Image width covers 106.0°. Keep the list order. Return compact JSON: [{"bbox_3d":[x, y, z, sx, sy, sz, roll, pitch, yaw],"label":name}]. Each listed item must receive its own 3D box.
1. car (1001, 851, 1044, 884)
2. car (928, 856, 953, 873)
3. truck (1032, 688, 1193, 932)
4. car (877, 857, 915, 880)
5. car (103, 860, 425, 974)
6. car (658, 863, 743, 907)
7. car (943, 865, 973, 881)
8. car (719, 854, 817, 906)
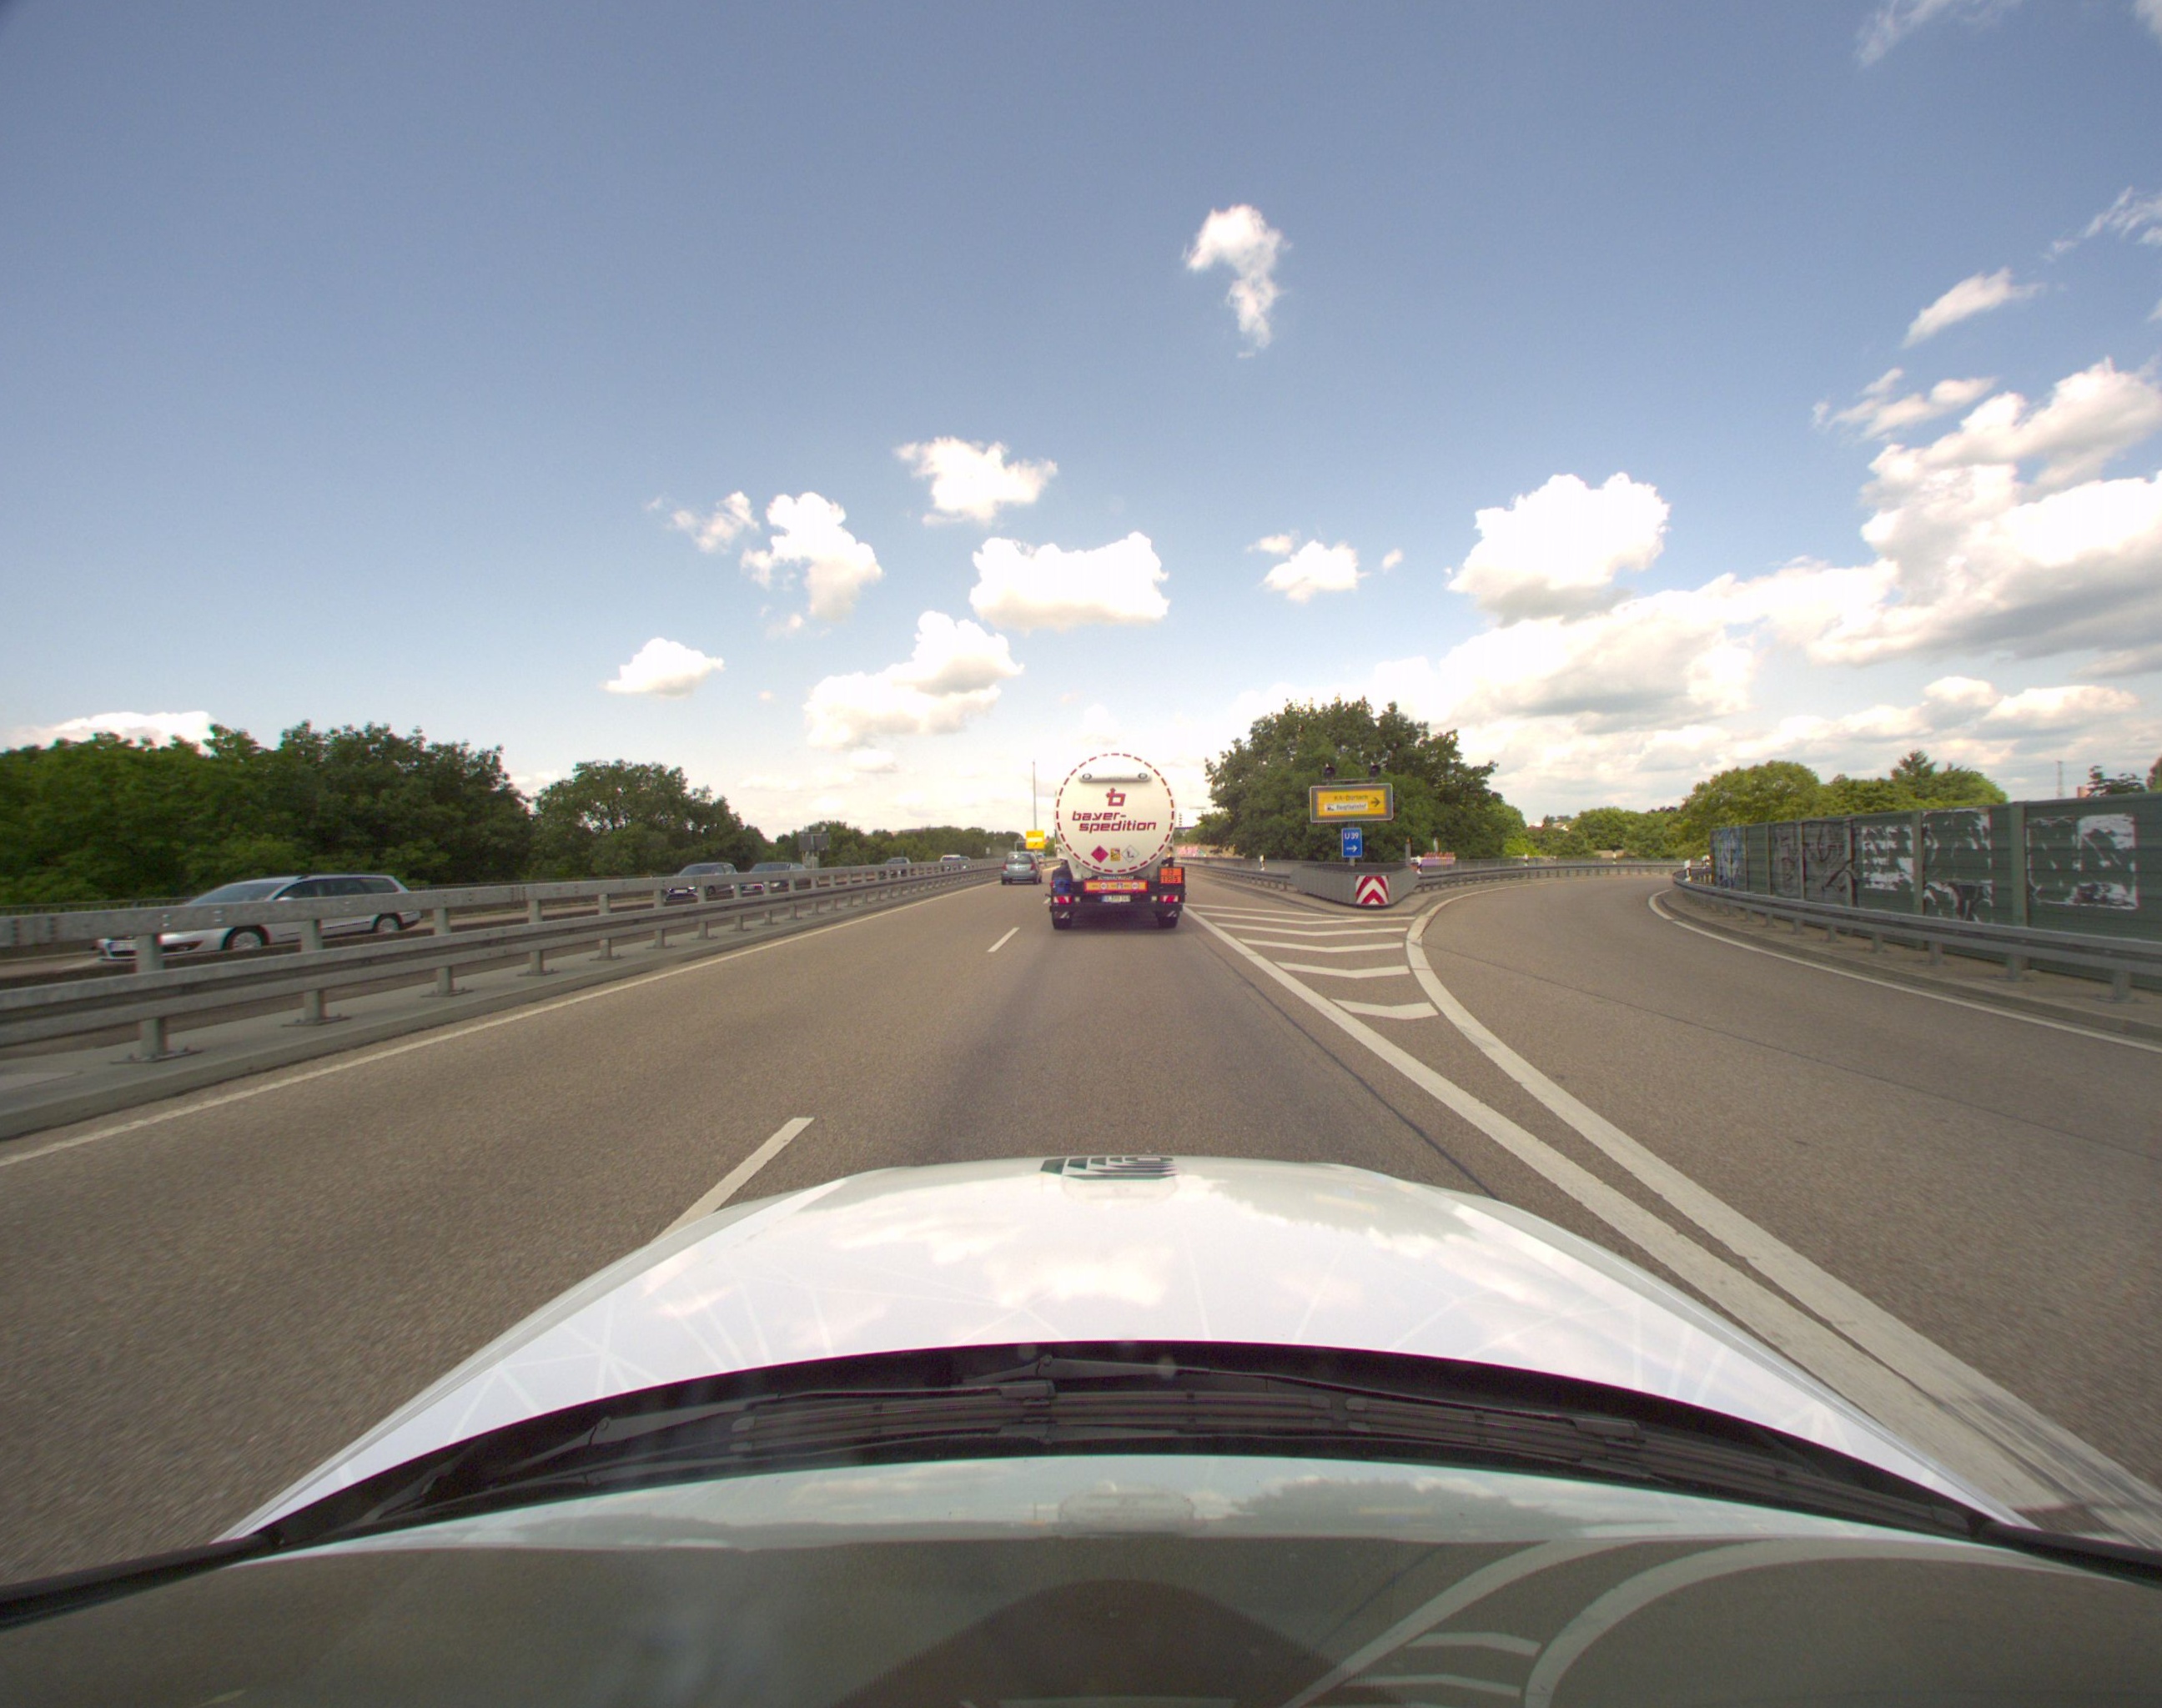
[{"bbox_3d":[-2.827,0.621,40.260,1.741,1.531,4.001,-1,0,1],"label":"car"},{"bbox_3d":[-14.502,1.062,84.259,1.885,1.640,4.511,0,0,-1],"label":"car"},{"bbox_3d":[0.623,-0.783,18.610,2.885,4.368,8.030,0,0,1],"label":"truck"},{"bbox_3d":[-13.645,1.065,60.341,1.815,1.639,4.001,0,0,1],"label":"car"},{"bbox_3d":[-14.875,1.018,15.267,1.577,1.711,4.410,0,1,-1],"label":"car"},{"bbox_3d":[-14.908,1.175,32.107,1.593,1.474,3.630,-3,0,-1],"label":"car"},{"bbox_3d":[-9.487,1.449,63.194,1.675,1.185,4.001,0,0,1],"label":"car"},{"bbox_3d":[-10.156,0.784,26.724,1.670,1.572,4.059,0,0,-1],"label":"car"}]
